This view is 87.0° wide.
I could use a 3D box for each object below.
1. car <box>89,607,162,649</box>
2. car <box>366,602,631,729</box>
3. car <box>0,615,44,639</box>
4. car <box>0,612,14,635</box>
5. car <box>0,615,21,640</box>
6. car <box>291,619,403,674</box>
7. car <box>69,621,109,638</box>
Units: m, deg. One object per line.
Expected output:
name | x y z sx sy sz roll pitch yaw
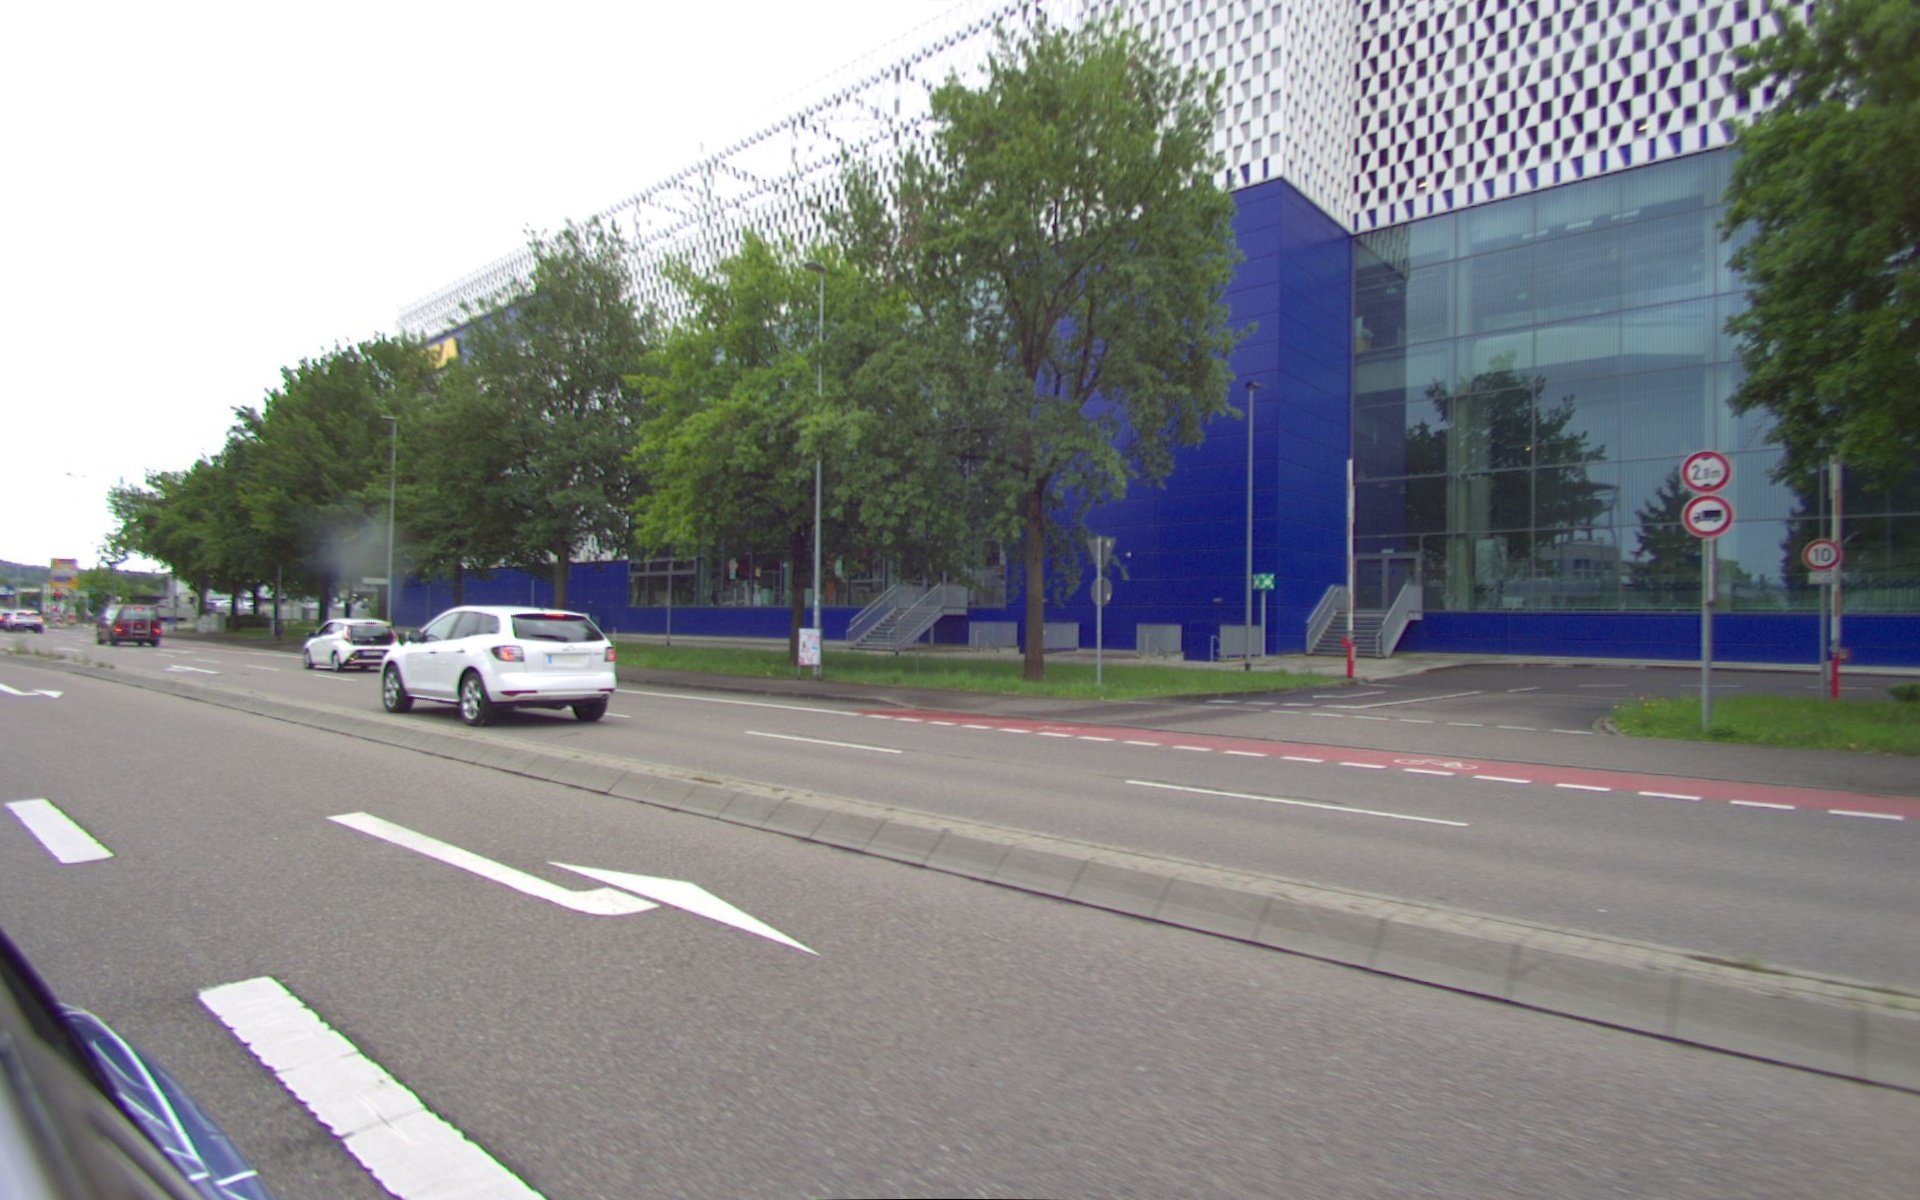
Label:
car | -40.403 1.341 48.955 4.904 1.939 1.749 -1 -3 40
car | -6.887 0.902 14.896 4.511 1.599 1.799 -1 -4 41
car | -67.817 1.971 72.970 3.972 1.624 1.707 -1 -4 35
car | -79.878 1.939 83.673 3.972 1.812 1.632 -1 -4 35
car | -72.709 2.051 76.511 3.972 1.812 1.632 -1 -4 35
car | -17.211 1.280 28.367 3.609 1.434 1.607 -1 -3 41
car | -76.280 2.558 88.625 3.972 1.401 1.632 -1 -4 35
